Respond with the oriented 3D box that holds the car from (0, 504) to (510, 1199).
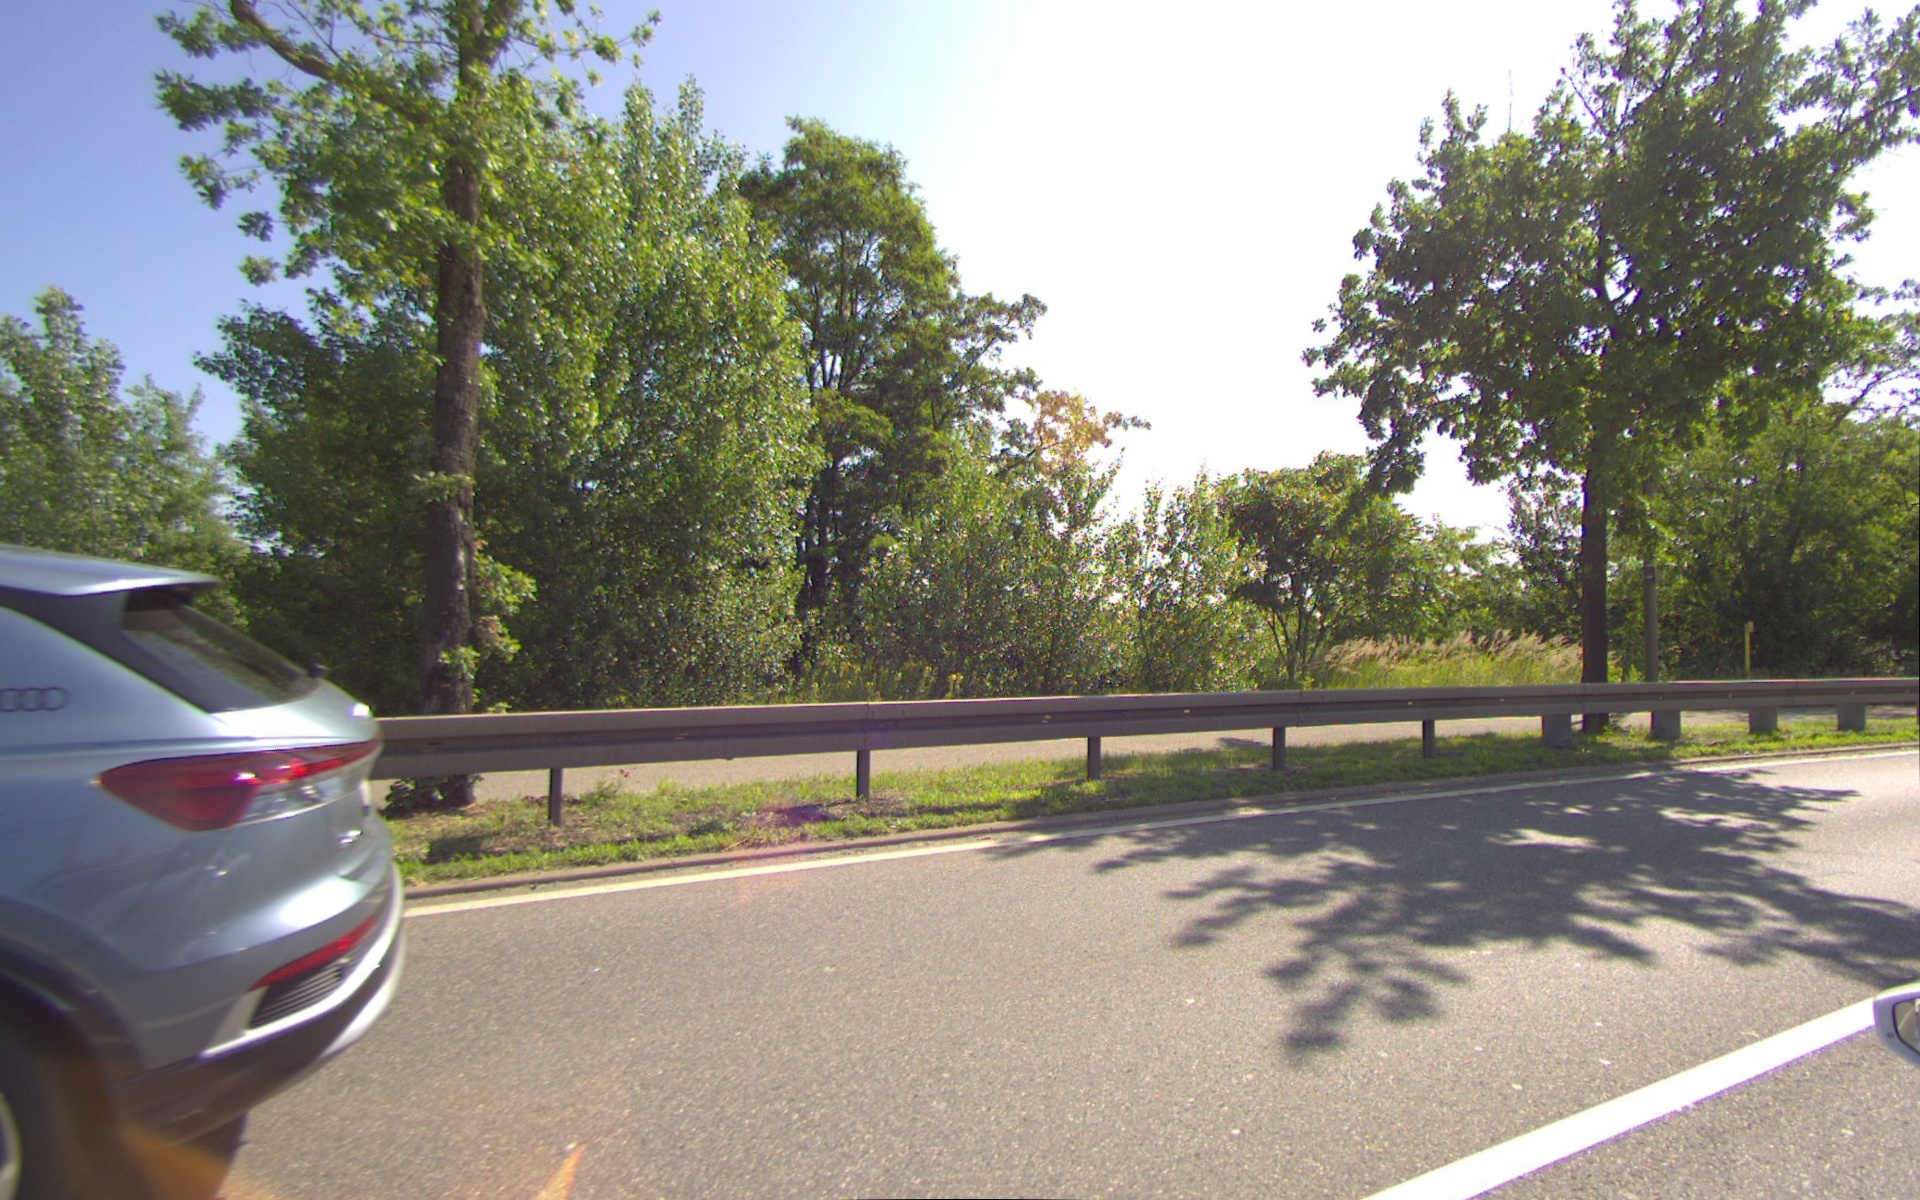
[{"bbox_3d":[-3.243,0.574,2.048,4.070,1.554,1.920,1,1,-31],"label":"car"}]
